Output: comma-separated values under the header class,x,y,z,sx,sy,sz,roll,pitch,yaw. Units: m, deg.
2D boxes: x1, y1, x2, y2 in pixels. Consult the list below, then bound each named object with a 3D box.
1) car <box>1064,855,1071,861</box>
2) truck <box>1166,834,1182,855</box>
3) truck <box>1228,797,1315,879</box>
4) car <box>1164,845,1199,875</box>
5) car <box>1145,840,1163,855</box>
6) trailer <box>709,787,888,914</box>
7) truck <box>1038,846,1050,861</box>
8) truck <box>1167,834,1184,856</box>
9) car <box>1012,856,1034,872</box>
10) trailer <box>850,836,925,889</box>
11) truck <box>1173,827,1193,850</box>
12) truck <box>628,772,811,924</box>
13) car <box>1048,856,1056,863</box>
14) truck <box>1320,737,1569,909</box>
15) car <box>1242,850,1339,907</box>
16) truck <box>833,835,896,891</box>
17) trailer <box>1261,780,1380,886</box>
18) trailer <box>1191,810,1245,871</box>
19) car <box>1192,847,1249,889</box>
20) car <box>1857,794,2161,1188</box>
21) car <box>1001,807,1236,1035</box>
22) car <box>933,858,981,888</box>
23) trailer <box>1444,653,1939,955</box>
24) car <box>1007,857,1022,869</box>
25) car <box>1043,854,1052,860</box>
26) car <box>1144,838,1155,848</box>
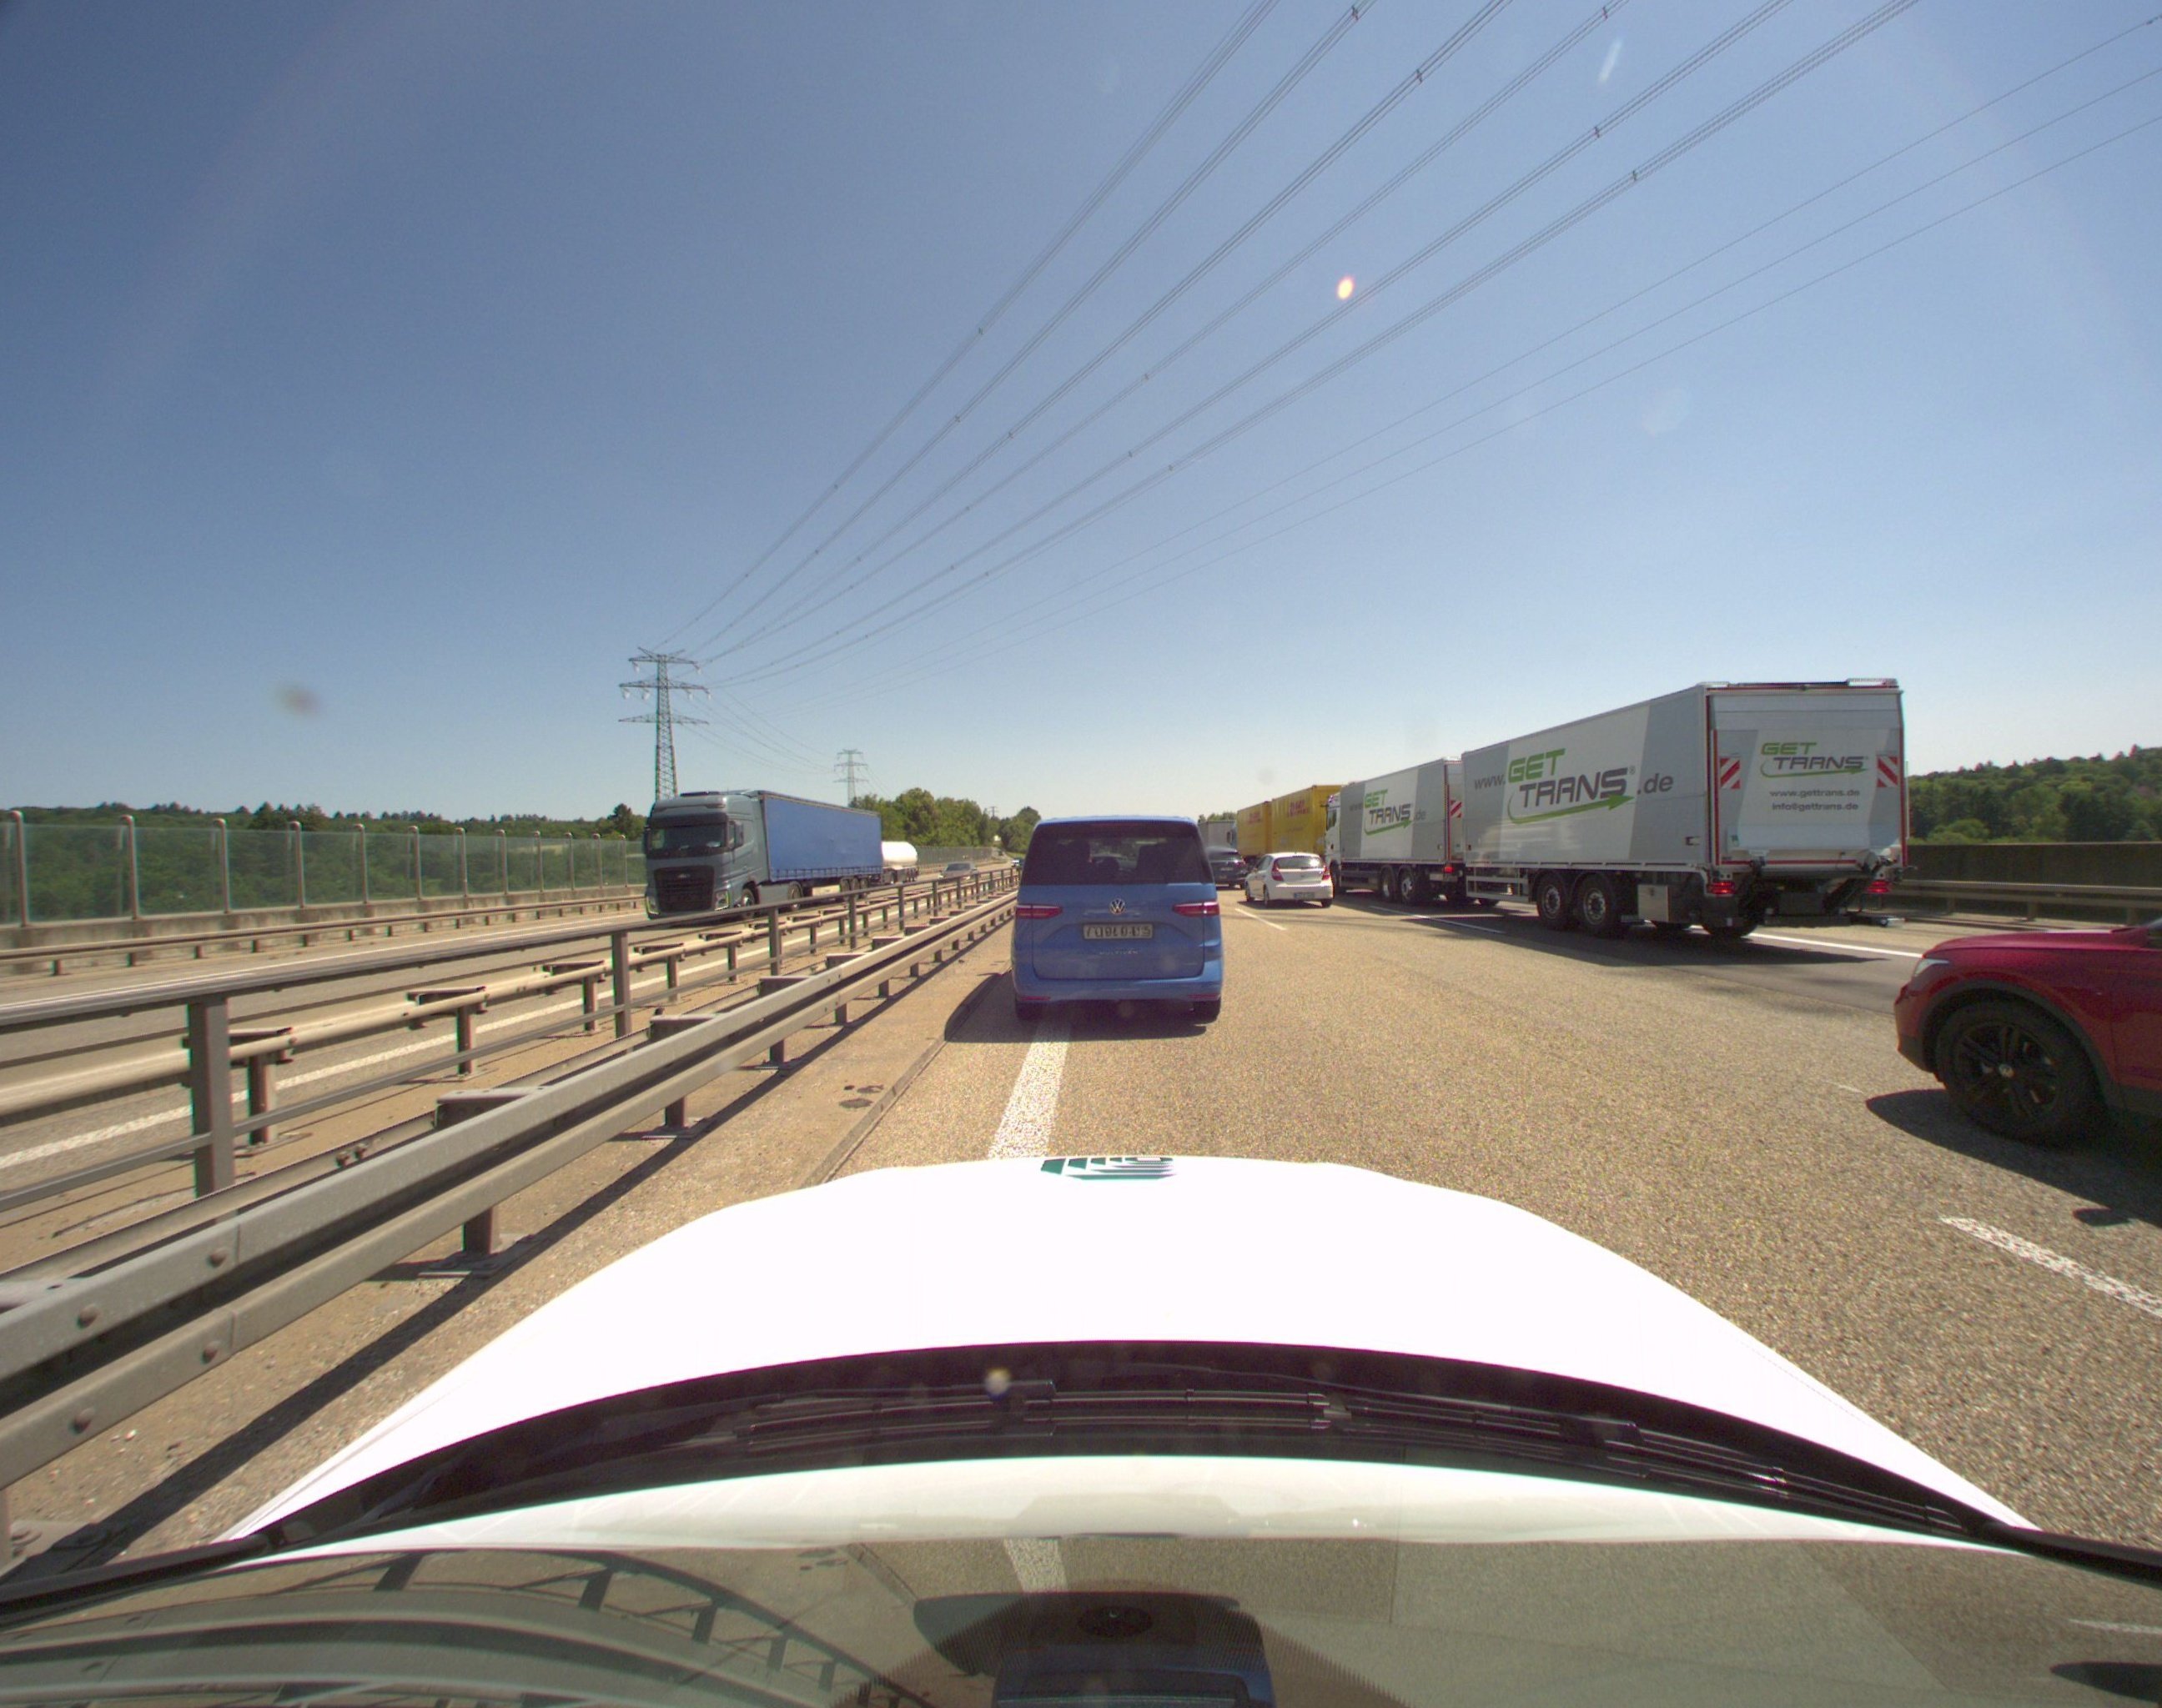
class,x,y,z,sx,sy,sz,roll,pitch,yaw
car,-4.250,1.164,252.392,1.865,1.530,3.609,-7,0,1
truck,11.881,-1.239,104.194,1.790,2.596,4.307,0,-1,2
truck,10.333,-0.745,45.296,2.690,4.088,9.940,0,-1,1
car,6.789,0.433,55.341,1.955,1.936,3.933,0,-1,2
car,8.570,-0.746,96.192,1.912,1.706,4.001,0,-1,2
trailer,-10.932,-0.055,33.391,2.694,4.165,12.053,-3,-1,1
truck,-11.626,-0.063,257.778,2.917,4.293,6.862,-4,-1,3
truck,11.491,-1.027,99.047,1.735,2.549,4.212,0,-1,2
car,-6.074,1.046,85.656,1.875,1.552,4.189,0,-1,0
trailer,-14.432,0.628,61.750,2.489,3.540,10.909,-3,-1,2
truck,11.231,-1.698,90.143,1.791,2.449,4.506,0,-1,2
truck,-11.134,-0.138,25.851,2.743,4.116,6.267,-2,-1,2
car,-8.150,1.460,230.598,1.833,1.822,4.748,-2,-1,1
truck,9.918,-0.661,24.042,2.841,3.934,10.613,0,-1,2
car,5.818,0.660,23.100,1.809,1.470,3.932,0,-1,1
truck,-14.689,0.592,55.564,2.510,3.535,5.333,-3,-1,2
trailer,10.222,-0.756,35.843,2.673,4.088,8.980,0,-1,1
trailer,11.106,-0.940,67.226,3.014,4.611,10.930,0,-1,2
car,5.757,0.574,34.067,1.808,1.679,3.933,0,-1,2
car,5.401,0.577,2.736,1.701,1.679,4.289,0,-1,4
car,0.375,0.572,8.704,1.923,1.874,4.001,0,-1,2
car,-6.625,0.989,43.933,1.875,1.552,4.189,0,-1,0
trailer,9.710,-0.613,14.641,2.888,3.891,8.216,0,-1,2
car,-9.591,1.315,117.501,1.800,1.640,4.000,-3,-1,1
car,-8.257,0.737,198.657,1.865,1.442,4.386,-3,0,1
car,12.362,-1.937,147.923,1.790,1.751,3.945,0,-1,2
